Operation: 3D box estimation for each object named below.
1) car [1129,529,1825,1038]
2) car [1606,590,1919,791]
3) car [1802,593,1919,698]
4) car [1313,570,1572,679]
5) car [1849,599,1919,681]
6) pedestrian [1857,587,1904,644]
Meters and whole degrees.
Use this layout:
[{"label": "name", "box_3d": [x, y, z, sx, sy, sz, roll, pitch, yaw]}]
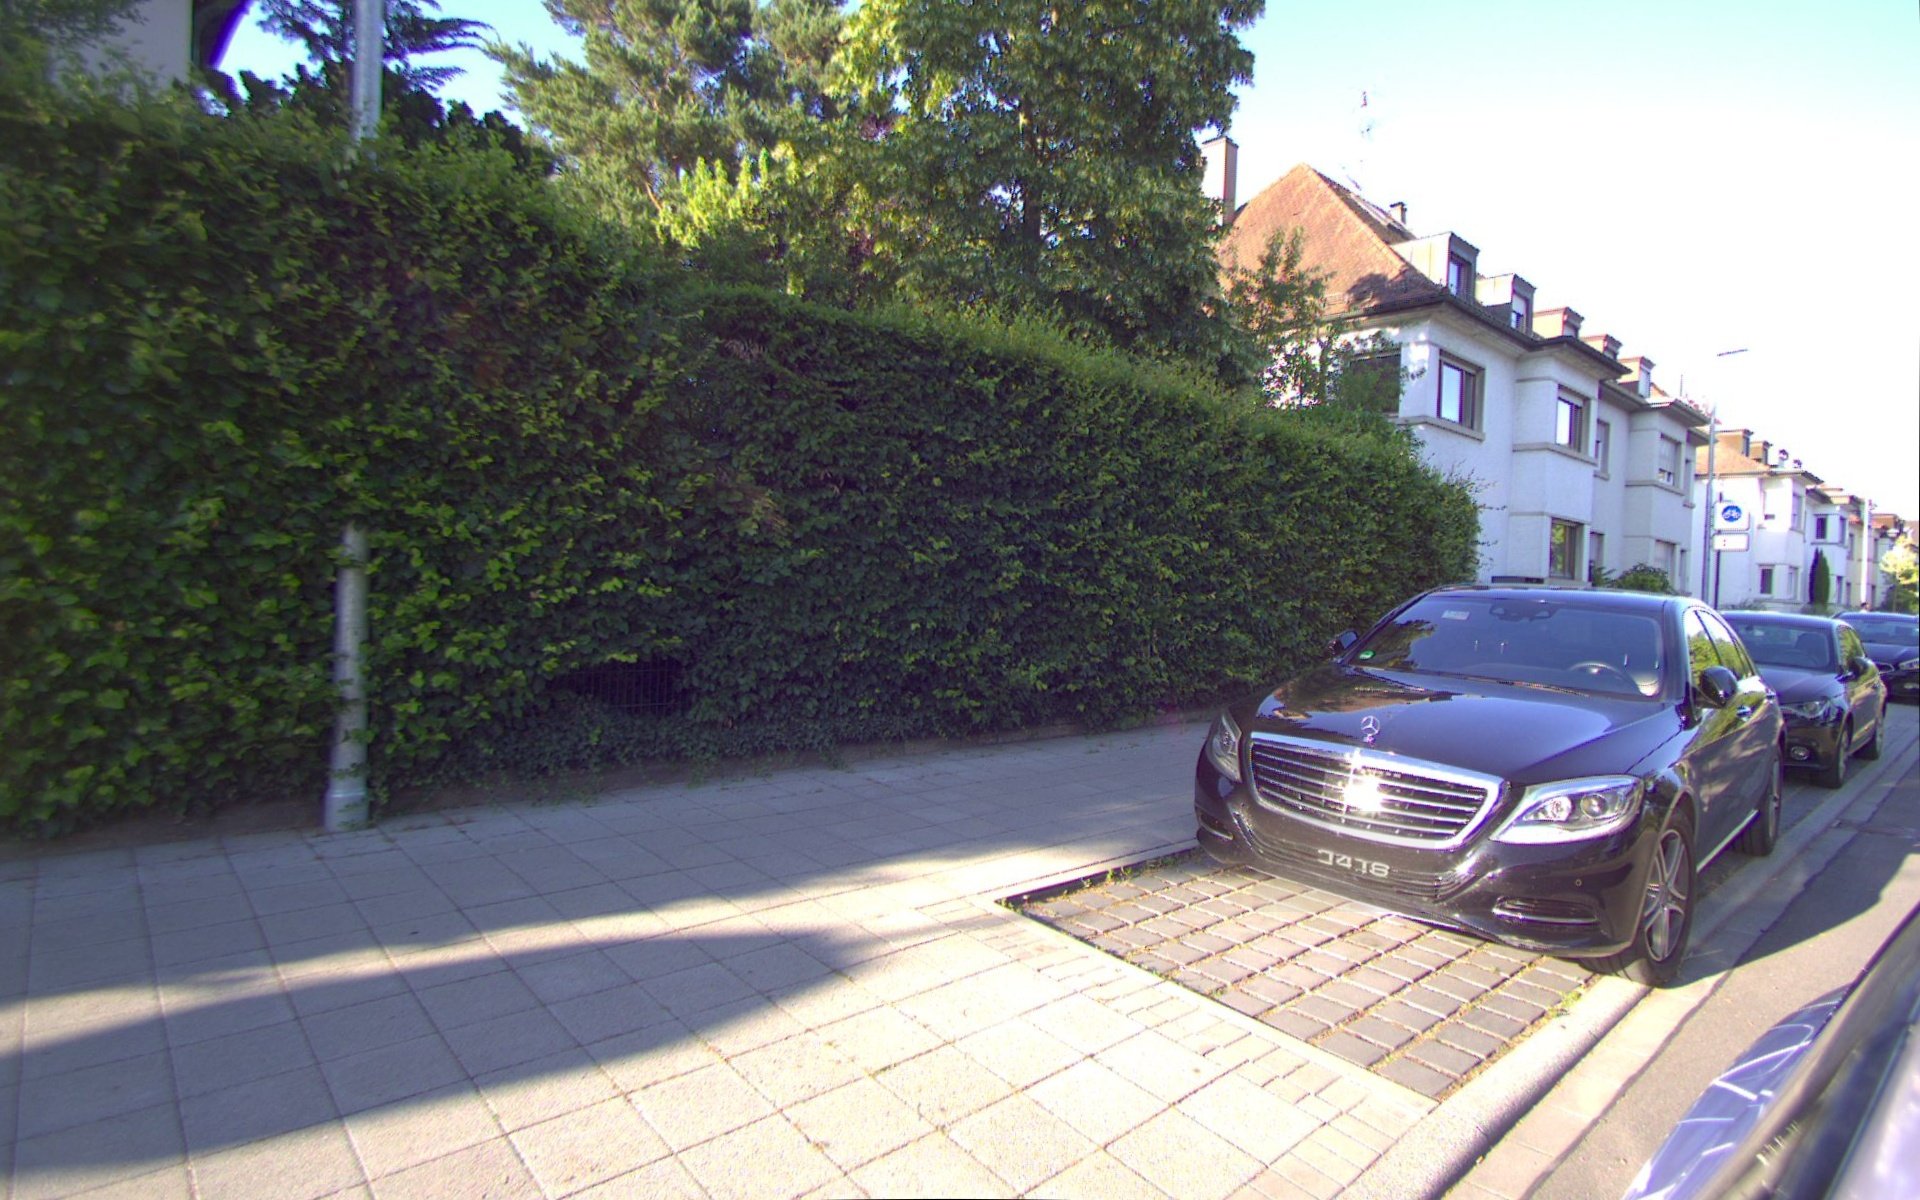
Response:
[{"label": "car", "box_3d": [3.138, 0.538, 5.488, 4.792, 1.561, 1.861, 0, 3, -44]}, {"label": "car", "box_3d": [7.782, 0.706, 9.683, 3.868, 1.445, 1.644, 1, 3, -42]}, {"label": "car", "box_3d": [16.043, 0.732, 17.436, 4.183, 1.492, 1.750, 1, 5, -43]}, {"label": "car", "box_3d": [8.318, 0.349, 17.622, 3.637, 1.514, 1.752, 5, 3, 45]}, {"label": "car", "box_3d": [19.893, 0.813, 20.992, 3.916, 1.489, 1.721, 1, 4, -43]}, {"label": "pedestrian", "box_3d": [33.848, 0.553, 37.235, 1.081, 2.038, 0.856, 2, 1, 33]}]
